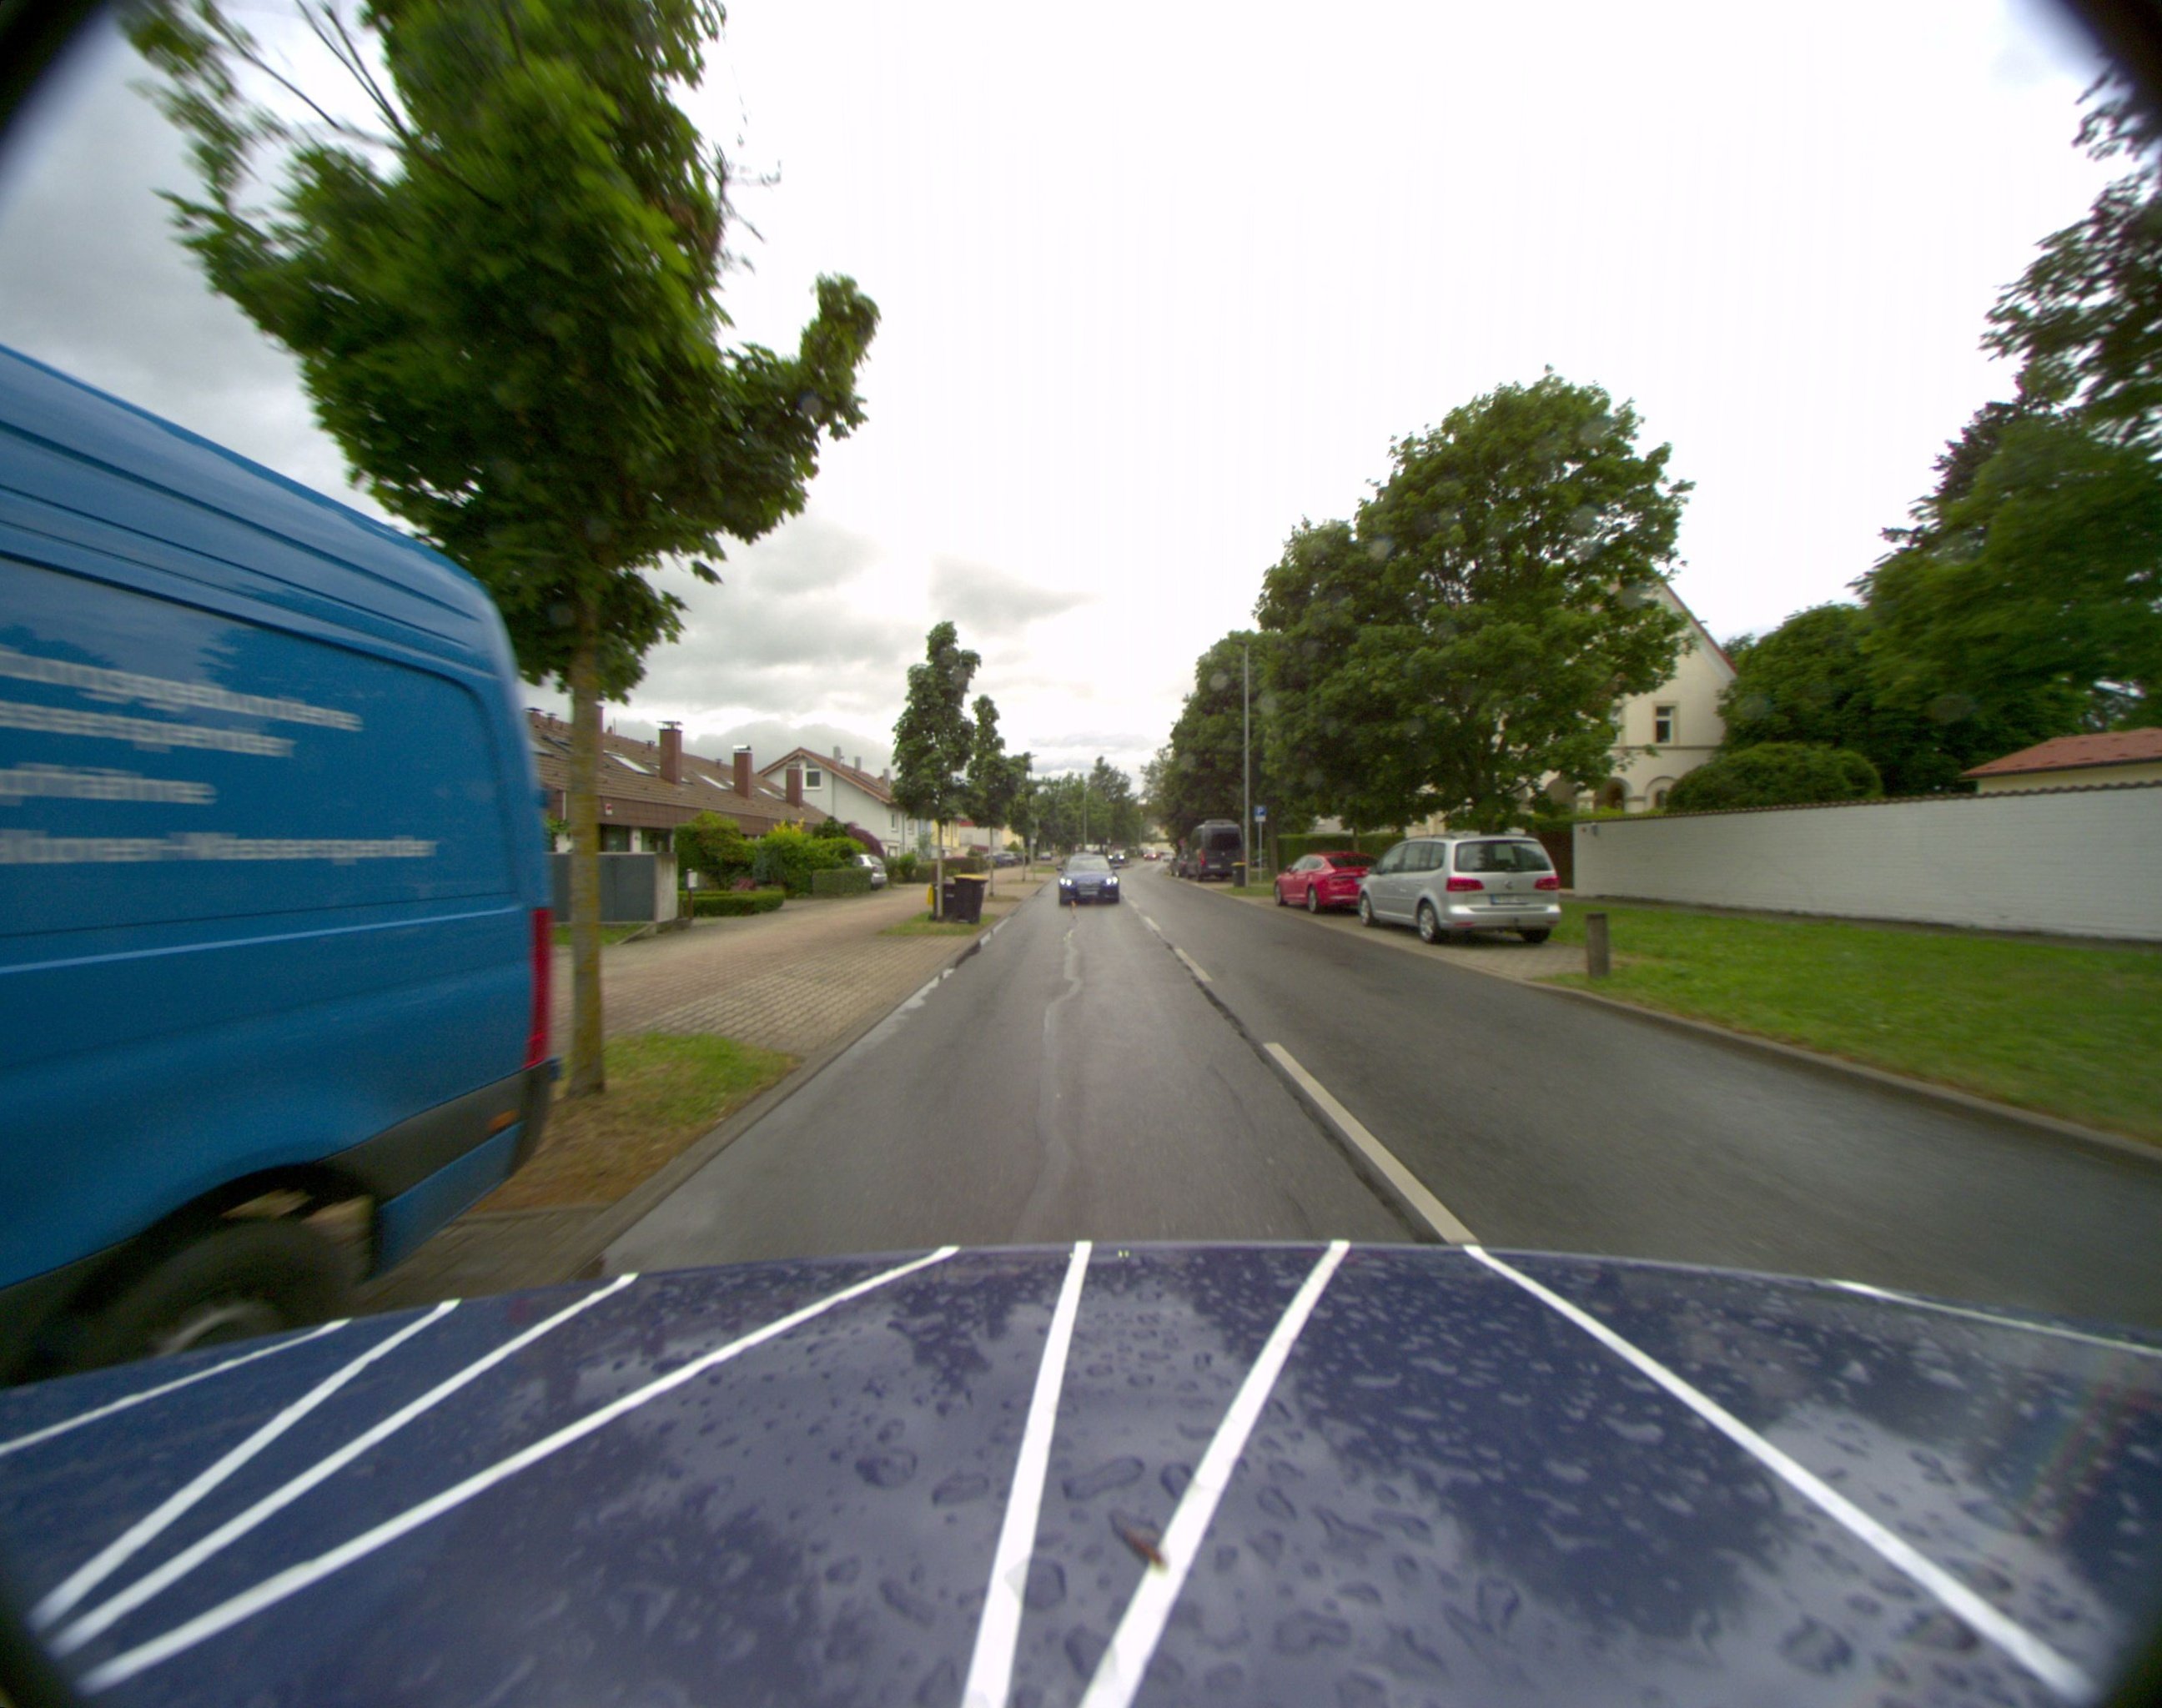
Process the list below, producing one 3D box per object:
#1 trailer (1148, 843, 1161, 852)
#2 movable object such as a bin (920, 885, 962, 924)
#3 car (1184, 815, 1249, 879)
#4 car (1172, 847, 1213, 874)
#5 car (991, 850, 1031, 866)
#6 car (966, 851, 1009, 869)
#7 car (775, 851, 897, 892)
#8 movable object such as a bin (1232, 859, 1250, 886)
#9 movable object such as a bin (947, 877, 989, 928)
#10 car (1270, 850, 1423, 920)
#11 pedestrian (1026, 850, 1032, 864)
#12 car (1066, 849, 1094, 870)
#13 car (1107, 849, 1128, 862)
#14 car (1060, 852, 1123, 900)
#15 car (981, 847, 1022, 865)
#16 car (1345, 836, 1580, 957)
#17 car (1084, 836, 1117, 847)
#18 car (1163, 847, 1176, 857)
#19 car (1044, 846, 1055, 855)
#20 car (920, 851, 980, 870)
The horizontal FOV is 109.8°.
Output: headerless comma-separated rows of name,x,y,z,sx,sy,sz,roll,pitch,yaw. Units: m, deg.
trailer,13.221,-1.189,137.589,1.998,1.534,4.425,-1,1,1
movable object such as a bin,-3.099,1.112,16.870,0.659,0.796,0.602,3,2,25
car,6.303,-0.304,36.091,1.998,2.713,5.937,-2,0,0
car,6.176,0.329,42.420,1.727,1.400,3.825,0,1,0
car,-7.780,0.442,85.165,4.189,1.662,1.991,-1,1,2
car,-9.097,0.557,73.993,3.998,1.378,1.675,-5,-2,-4
car,-9.238,0.653,28.846,3.997,1.434,1.847,-1,1,1
movable object such as a bin,5.697,0.650,27.045,0.559,0.948,0.549,-1,1,4
movable object such as a bin,-2.396,1.016,16.120,0.614,1.009,0.563,5,3,25
car,6.083,0.632,18.037,1.999,1.395,4.556,-1,0,-1
pedestrian,-5.894,0.361,85.642,0.666,1.549,0.842,-1,1,-5
car,-0.097,0.356,54.738,1.841,1.440,3.998,-1,1,-3
car,4.352,0.183,91.403,1.841,1.541,3.997,-1,1,-7
car,0.292,0.711,25.847,1.913,1.425,4.301,-2,-1,-1
car,-8.458,0.159,80.888,4.192,1.662,1.720,-3,1,-7
car,5.935,0.568,12.463,1.761,1.618,4.232,-1,0,1
car,3.680,-2.277,141.943,5.824,2.002,2.003,0,2,24
car,12.202,-0.284,104.594,1.597,1.455,3.453,-1,1,4
car,-5.509,-0.553,133.320,1.691,1.501,3.826,-1,1,2
car,-10.001,0.507,57.933,4.319,1.253,1.677,-2,0,-13
